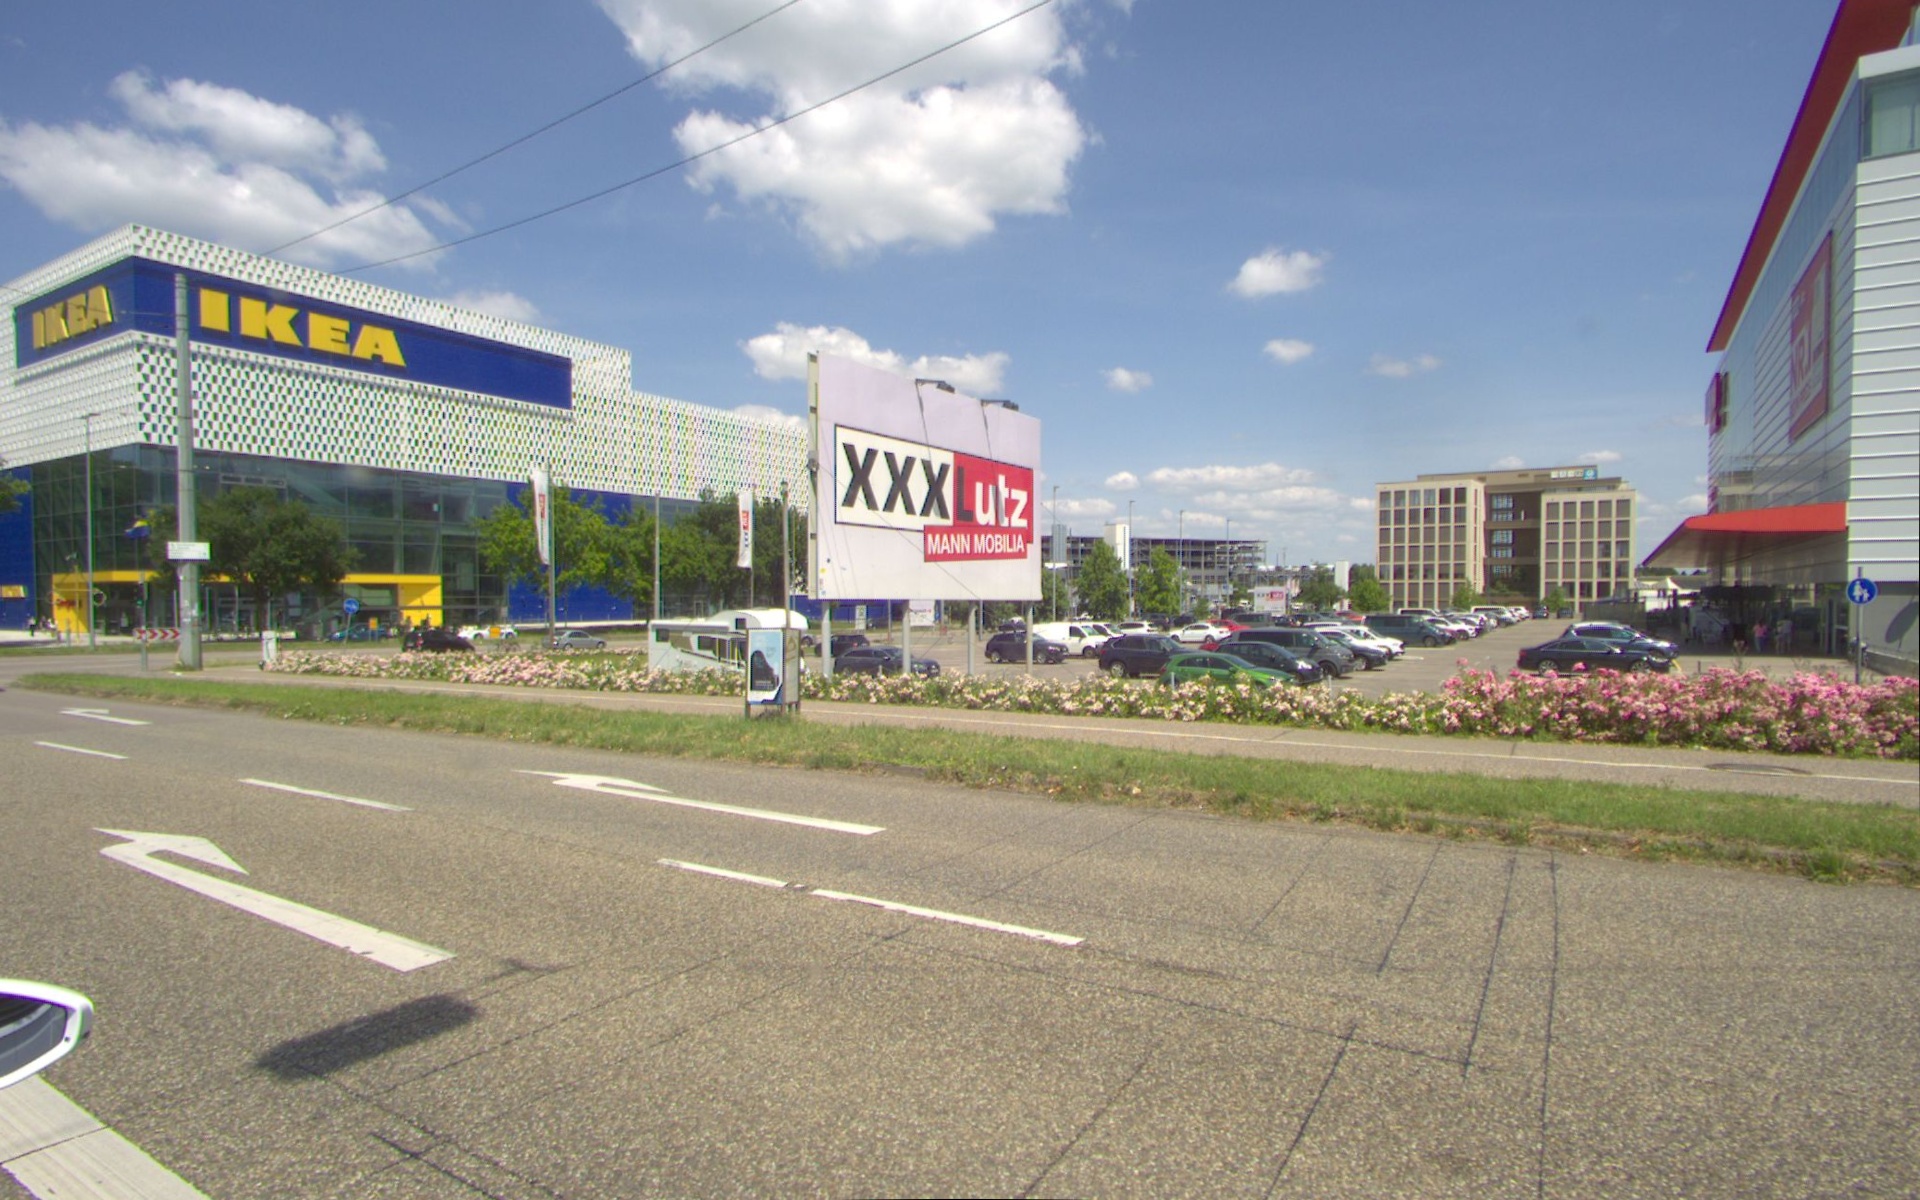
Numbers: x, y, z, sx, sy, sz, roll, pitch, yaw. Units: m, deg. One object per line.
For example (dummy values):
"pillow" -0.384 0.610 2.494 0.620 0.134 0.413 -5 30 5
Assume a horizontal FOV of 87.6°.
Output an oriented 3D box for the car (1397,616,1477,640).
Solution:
"car" 33.696 1.986 70.715 4.929 1.631 1.990 -1 -1 33

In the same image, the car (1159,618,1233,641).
"car" 17.189 2.103 72.943 4.929 1.631 1.990 -1 -1 33

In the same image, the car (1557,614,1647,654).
"car" 33.776 1.751 52.799 3.943 2.039 1.990 -1 -1 32

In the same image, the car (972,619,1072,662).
"car" 3.243 2.096 52.591 4.929 2.162 1.990 -1 -1 33

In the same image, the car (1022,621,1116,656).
"car" 6.125 2.159 56.586 4.929 1.876 1.990 -1 -1 33

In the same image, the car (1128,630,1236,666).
"car" 11.119 2.367 50.339 4.929 1.632 1.989 -1 0 33

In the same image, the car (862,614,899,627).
"car" -9.378 2.430 118.746 1.974 1.505 4.486 0 -2 36

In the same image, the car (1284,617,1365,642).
"car" 24.852 2.006 68.296 4.929 1.631 1.990 -1 -1 33

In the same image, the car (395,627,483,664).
"car" -30.272 2.595 58.327 1.970 2.040 4.178 -1 -1 29

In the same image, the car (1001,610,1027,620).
"car" 8.595 2.431 158.462 1.974 1.505 4.486 0 -2 36

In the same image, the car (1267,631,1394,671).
"car" 16.192 2.177 43.841 4.929 1.631 1.990 -1 -1 33

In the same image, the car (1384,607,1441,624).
"car" 44.536 1.538 98.516 4.929 1.631 1.990 -1 -1 33

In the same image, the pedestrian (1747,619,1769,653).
"pedestrian" 38.228 1.721 47.985 0.725 1.578 0.739 0 -1 30

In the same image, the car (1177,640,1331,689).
"car" 10.442 2.241 35.731 4.929 1.570 1.990 -1 -1 33

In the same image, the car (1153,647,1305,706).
"car" 8.456 2.360 31.566 4.242 1.517 1.988 -1 2 33

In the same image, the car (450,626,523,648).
"car" -35.010 2.746 74.167 1.974 1.505 4.486 0 -2 36

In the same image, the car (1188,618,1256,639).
"car" 20.768 2.258 79.411 4.929 1.631 1.990 -1 -1 33

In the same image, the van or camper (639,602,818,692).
"van or camper" -8.730 1.676 37.380 7.129 3.059 2.499 -1 -1 36

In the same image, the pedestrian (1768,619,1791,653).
"pedestrian" 38.375 1.689 46.896 0.725 1.578 0.739 0 -1 30

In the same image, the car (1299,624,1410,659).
"car" 19.878 2.075 50.513 4.929 1.672 1.990 -1 -1 33

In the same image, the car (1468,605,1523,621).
"car" 55.248 1.325 103.354 4.929 1.631 1.990 -1 -1 33

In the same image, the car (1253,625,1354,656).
"car" 18.759 2.182 54.734 4.928 1.631 1.990 -1 -1 32

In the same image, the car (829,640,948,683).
"car" -3.025 2.537 41.899 4.701 1.558 1.989 -1 1 33

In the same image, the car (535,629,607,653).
"car" -26.110 2.749 67.331 1.970 1.505 4.149 0 -2 30

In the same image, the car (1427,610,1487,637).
"car" 38.138 1.809 76.892 3.943 2.040 1.990 -1 -1 32

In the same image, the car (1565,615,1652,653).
"car" 35.432 1.831 54.840 3.943 2.040 1.990 -1 -1 32

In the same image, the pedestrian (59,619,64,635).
"pedestrian" -72.692 2.190 81.020 0.263 1.360 0.288 0 0 32

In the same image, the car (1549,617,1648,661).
"car" 30.748 1.837 48.301 3.943 2.040 1.990 -1 -1 32

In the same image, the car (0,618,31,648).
"car" -50.190 1.647 50.579 1.974 1.505 4.486 0 -2 36

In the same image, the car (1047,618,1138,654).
"car" 7.709 2.073 58.632 4.929 2.033 1.990 -1 -1 33

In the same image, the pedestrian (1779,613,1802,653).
"pedestrian" 39.374 1.562 47.478 0.725 1.893 0.739 0 -1 30

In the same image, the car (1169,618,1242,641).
"car" 18.374 2.193 74.984 4.929 1.631 1.990 -1 -1 33

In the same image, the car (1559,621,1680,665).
"car" 28.436 1.836 43.347 4.271 1.804 1.990 -1 -2 33

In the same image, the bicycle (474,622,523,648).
"bicycle" -26.736 2.020 58.046 0.976 1.500 2.415 0 -1 37

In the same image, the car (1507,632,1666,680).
"car" 23.270 2.046 37.369 4.929 1.631 1.990 -1 -1 33

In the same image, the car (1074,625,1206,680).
"car" 7.300 2.096 40.804 4.929 2.041 1.989 -1 1 33

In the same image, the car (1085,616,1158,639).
"car" 11.769 2.019 73.202 4.922 1.631 1.993 0 -1 27

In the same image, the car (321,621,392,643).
"car" -41.774 2.225 69.385 1.974 1.505 3.779 0 -2 36

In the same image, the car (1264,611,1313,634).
"car" 30.509 2.099 93.076 3.943 2.040 1.990 -1 -1 32

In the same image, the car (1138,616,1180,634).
"car" 20.387 2.561 102.648 3.943 1.863 1.819 -1 -1 32

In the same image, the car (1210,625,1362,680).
"car" 12.909 2.032 39.850 5.456 2.039 1.990 -1 -1 33

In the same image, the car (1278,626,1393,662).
"car" 18.086 2.106 48.349 4.929 1.631 1.990 -1 -1 33

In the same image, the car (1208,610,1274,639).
"car" 23.430 2.014 83.491 4.929 2.333 1.990 -1 -1 33

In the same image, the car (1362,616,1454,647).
"car" 27.956 1.953 62.527 5.106 1.889 1.991 -1 -1 31
